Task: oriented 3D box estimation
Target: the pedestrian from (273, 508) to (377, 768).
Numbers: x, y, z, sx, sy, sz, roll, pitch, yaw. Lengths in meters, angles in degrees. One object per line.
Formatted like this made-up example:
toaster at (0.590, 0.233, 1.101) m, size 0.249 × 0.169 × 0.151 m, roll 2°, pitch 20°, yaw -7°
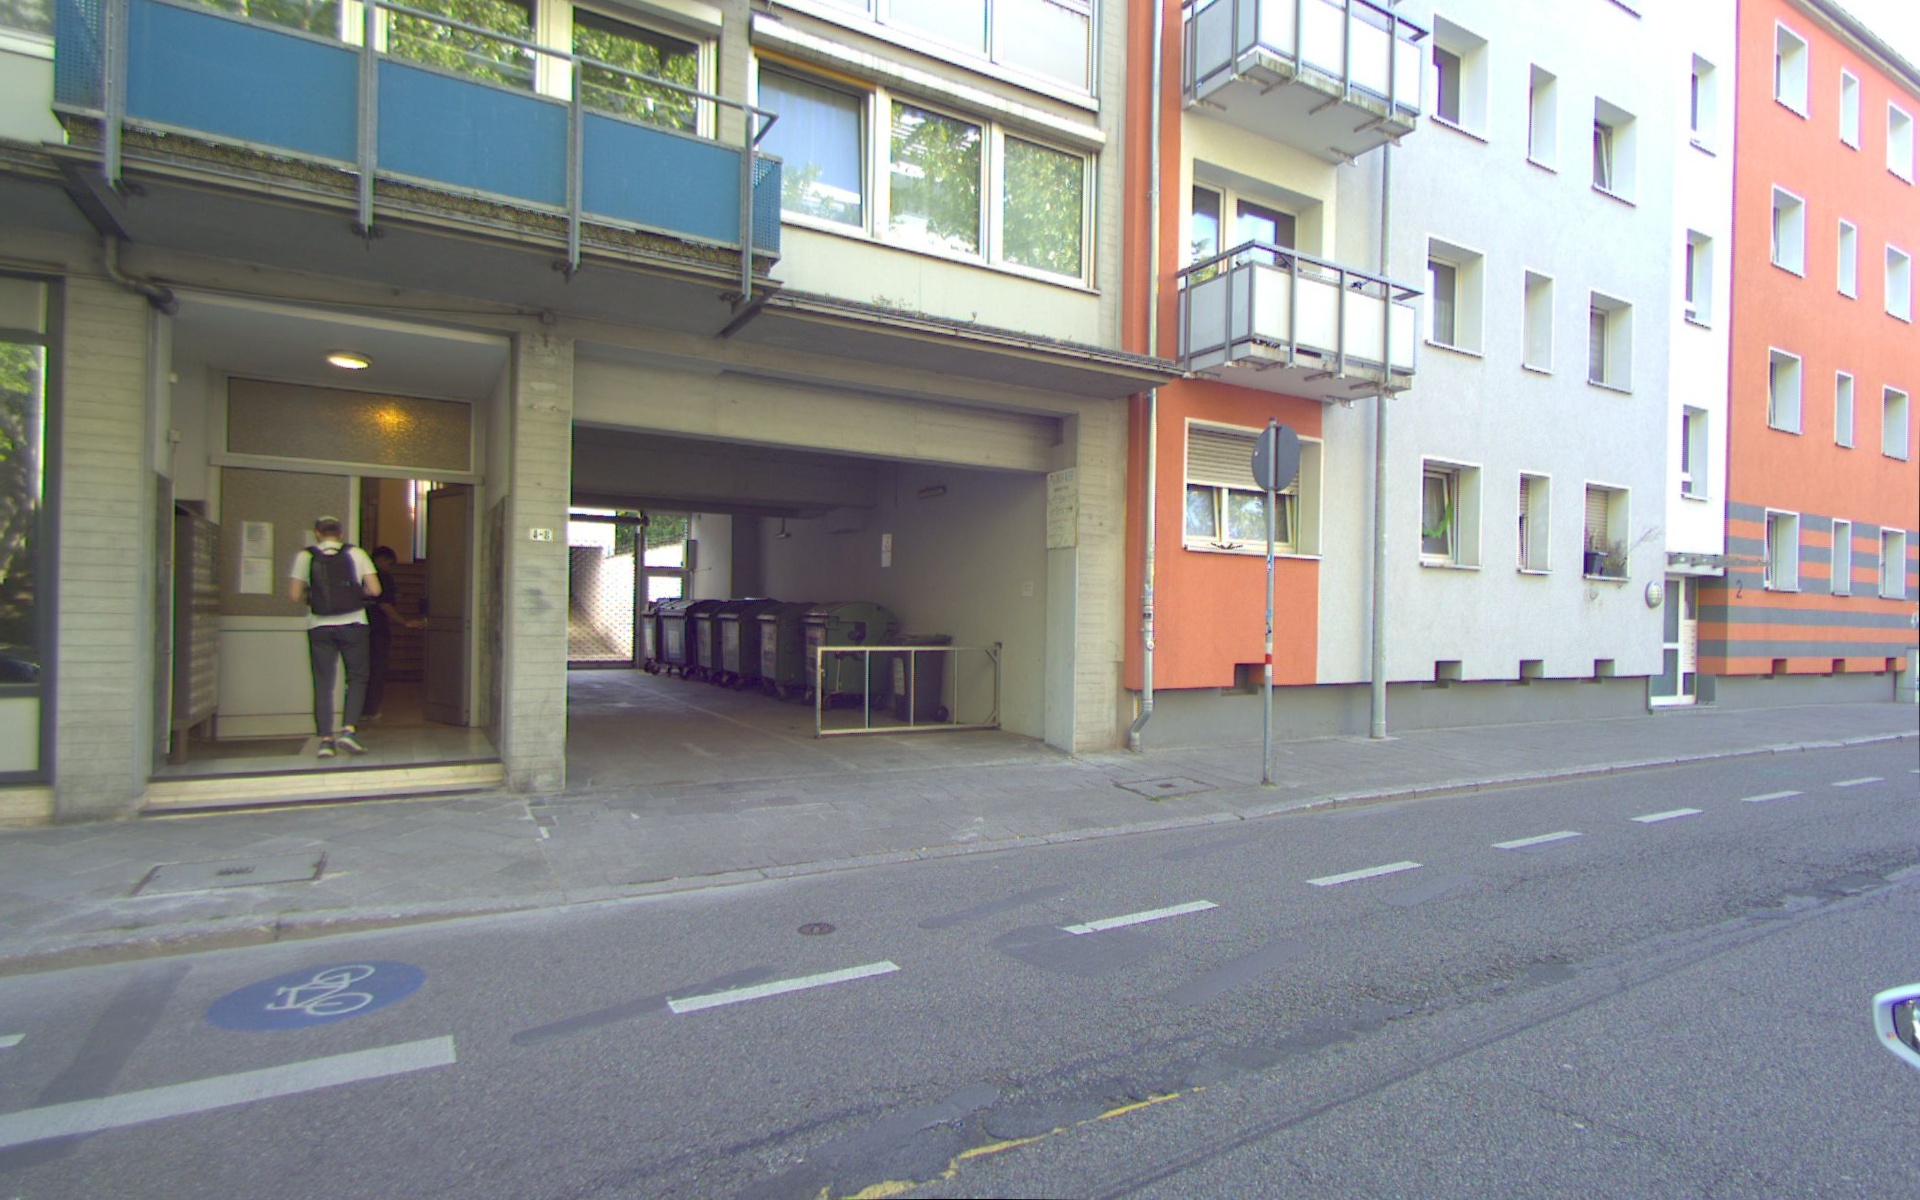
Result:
pedestrian at (-4.755, 0.261, 7.565) m, size 0.594 × 1.824 × 0.872 m, roll 1°, pitch 1°, yaw -30°

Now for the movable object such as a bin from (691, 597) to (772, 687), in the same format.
movable object such as a bin at (-4.021, 0.718, 17.621) m, size 1.080 × 1.503 × 1.159 m, roll 1°, pitch 0°, yaw -30°

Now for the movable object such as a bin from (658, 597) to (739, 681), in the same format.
movable object such as a bin at (-4.872, 0.707, 18.698) m, size 1.167 × 1.503 × 1.215 m, roll 1°, pitch 0°, yaw -30°

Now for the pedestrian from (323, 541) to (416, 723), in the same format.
pedestrian at (-5.816, 0.311, 9.924) m, size 0.651 × 1.736 × 0.546 m, roll 1°, pitch 0°, yaw -18°

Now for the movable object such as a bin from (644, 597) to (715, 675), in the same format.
movable object such as a bin at (-5.564, 0.700, 19.912) m, size 1.167 × 1.503 × 0.819 m, roll 1°, pitch 0°, yaw -30°

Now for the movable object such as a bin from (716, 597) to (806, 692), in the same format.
movable object such as a bin at (-3.308, 0.721, 16.635) m, size 1.167 × 1.503 × 1.073 m, roll 1°, pitch 0°, yaw -30°

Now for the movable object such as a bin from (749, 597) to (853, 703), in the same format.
movable object such as a bin at (-2.411, 0.728, 15.149) m, size 1.167 × 1.503 × 1.252 m, roll 1°, pitch 0°, yaw -30°

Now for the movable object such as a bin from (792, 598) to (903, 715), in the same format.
movable object such as a bin at (-1.558, 0.737, 13.757) m, size 1.086 × 1.503 × 1.251 m, roll 1°, pitch 0°, yaw -30°

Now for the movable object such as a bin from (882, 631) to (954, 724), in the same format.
movable object such as a bin at (-0.527, 0.938, 12.442) m, size 0.687 × 1.094 × 0.579 m, roll 1°, pitch 0°, yaw -30°
